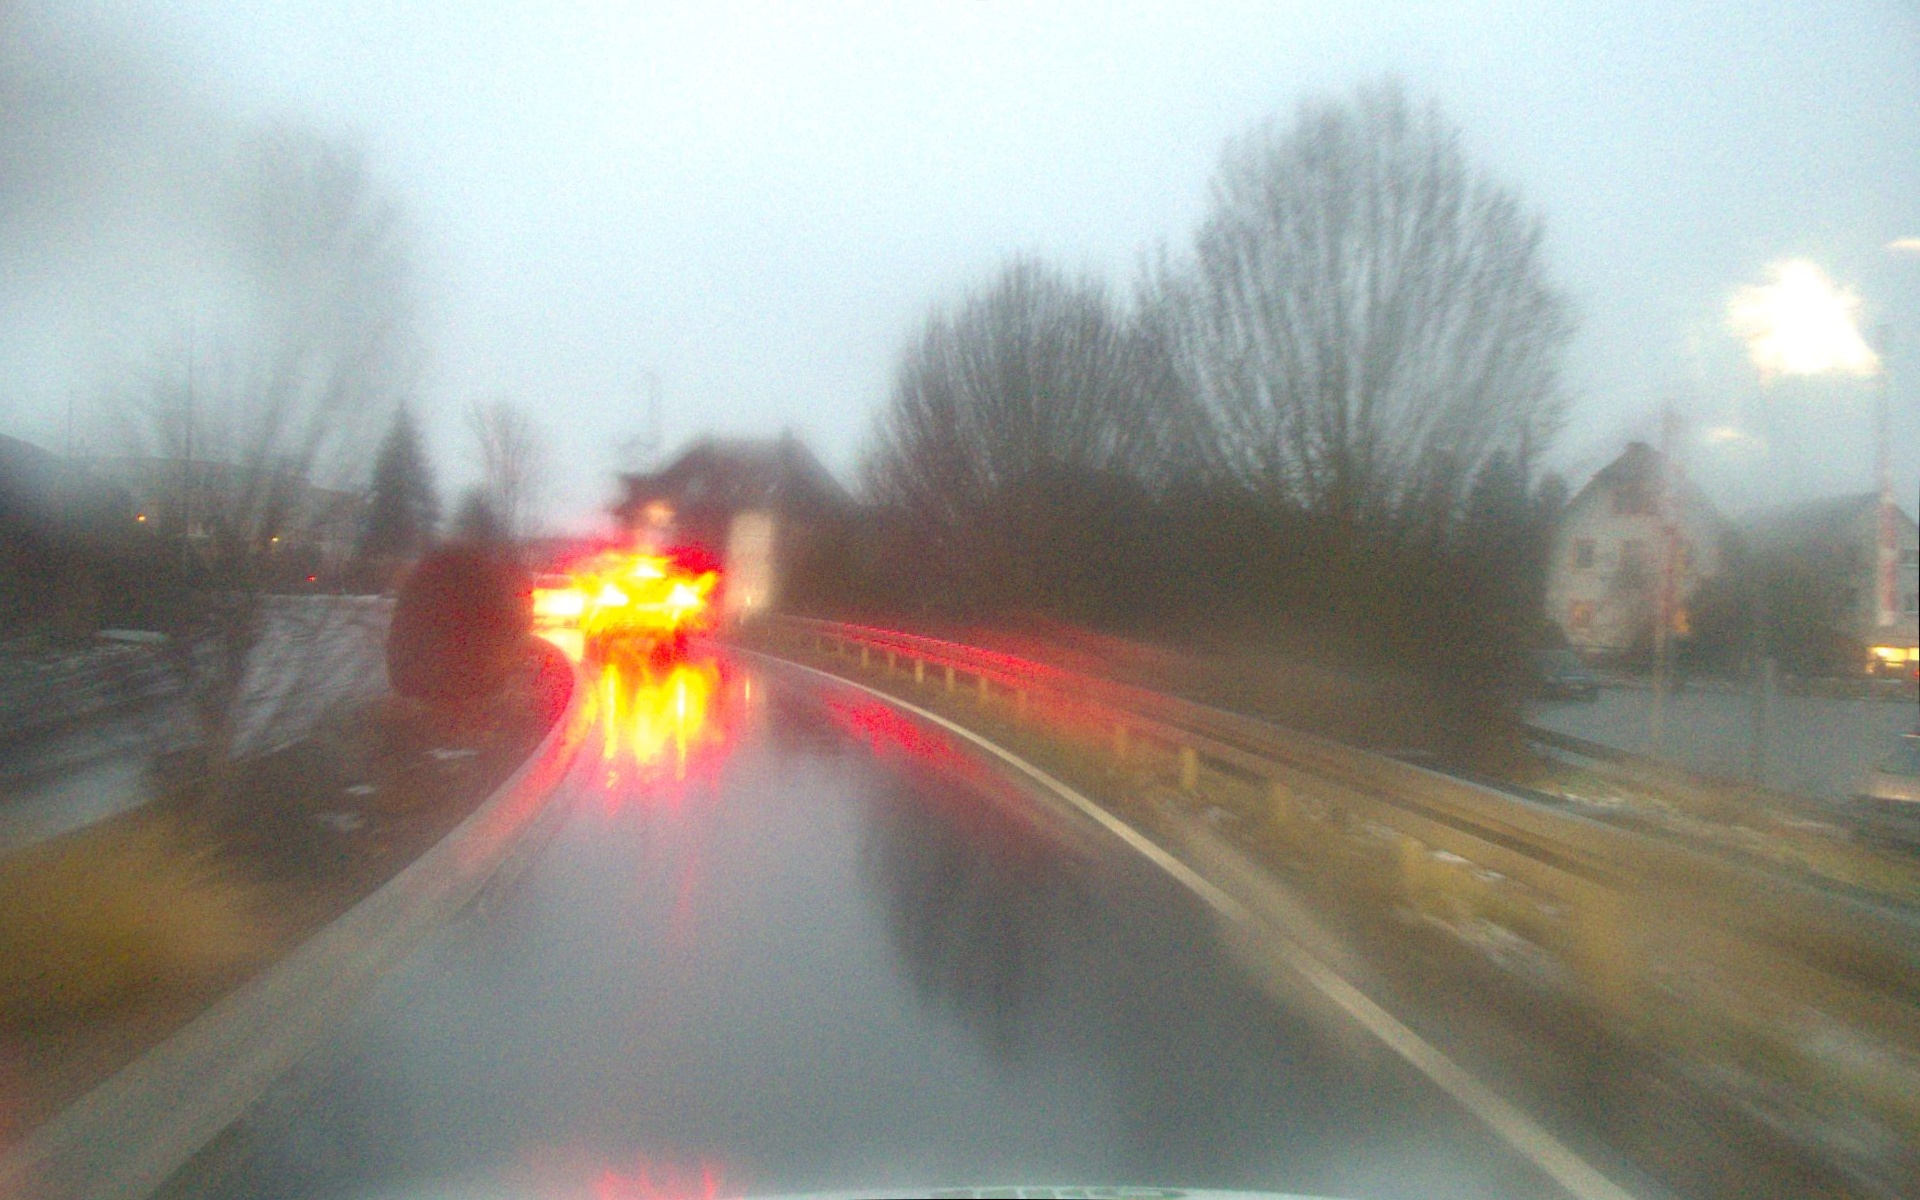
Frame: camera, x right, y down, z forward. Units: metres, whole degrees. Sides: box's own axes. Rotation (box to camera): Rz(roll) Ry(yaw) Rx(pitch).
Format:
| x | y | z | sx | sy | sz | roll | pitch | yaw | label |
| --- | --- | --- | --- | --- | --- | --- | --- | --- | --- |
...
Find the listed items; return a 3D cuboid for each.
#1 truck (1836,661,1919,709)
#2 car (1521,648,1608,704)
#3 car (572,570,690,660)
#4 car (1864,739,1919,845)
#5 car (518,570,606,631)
| x | y | z | sx | sy | sz | roll | pitch | yaw | label |
| --- | --- | --- | --- | --- | --- | --- | --- | --- | --- |
| 34.339 | 3.060 | 58.733 | 5.663 | 1.574 | 1.939 | 1 | 0 | 30 | truck |
| 19.566 | 2.432 | 53.688 | 1.895 | 1.574 | 4.003 | 1 | 0 | 9 | car |
| -7.034 | 0.297 | 35.109 | 1.915 | 1.748 | 3.978 | 2 | 0 | -19 | car |
| 15.002 | 2.897 | 25.169 | 1.368 | 1.336 | 3.186 | 1 | 0 | 45 | car |
| -12.340 | -0.018 | 51.119 | 2.131 | 1.719 | 4.545 | 1 | 1 | -20 | car |
